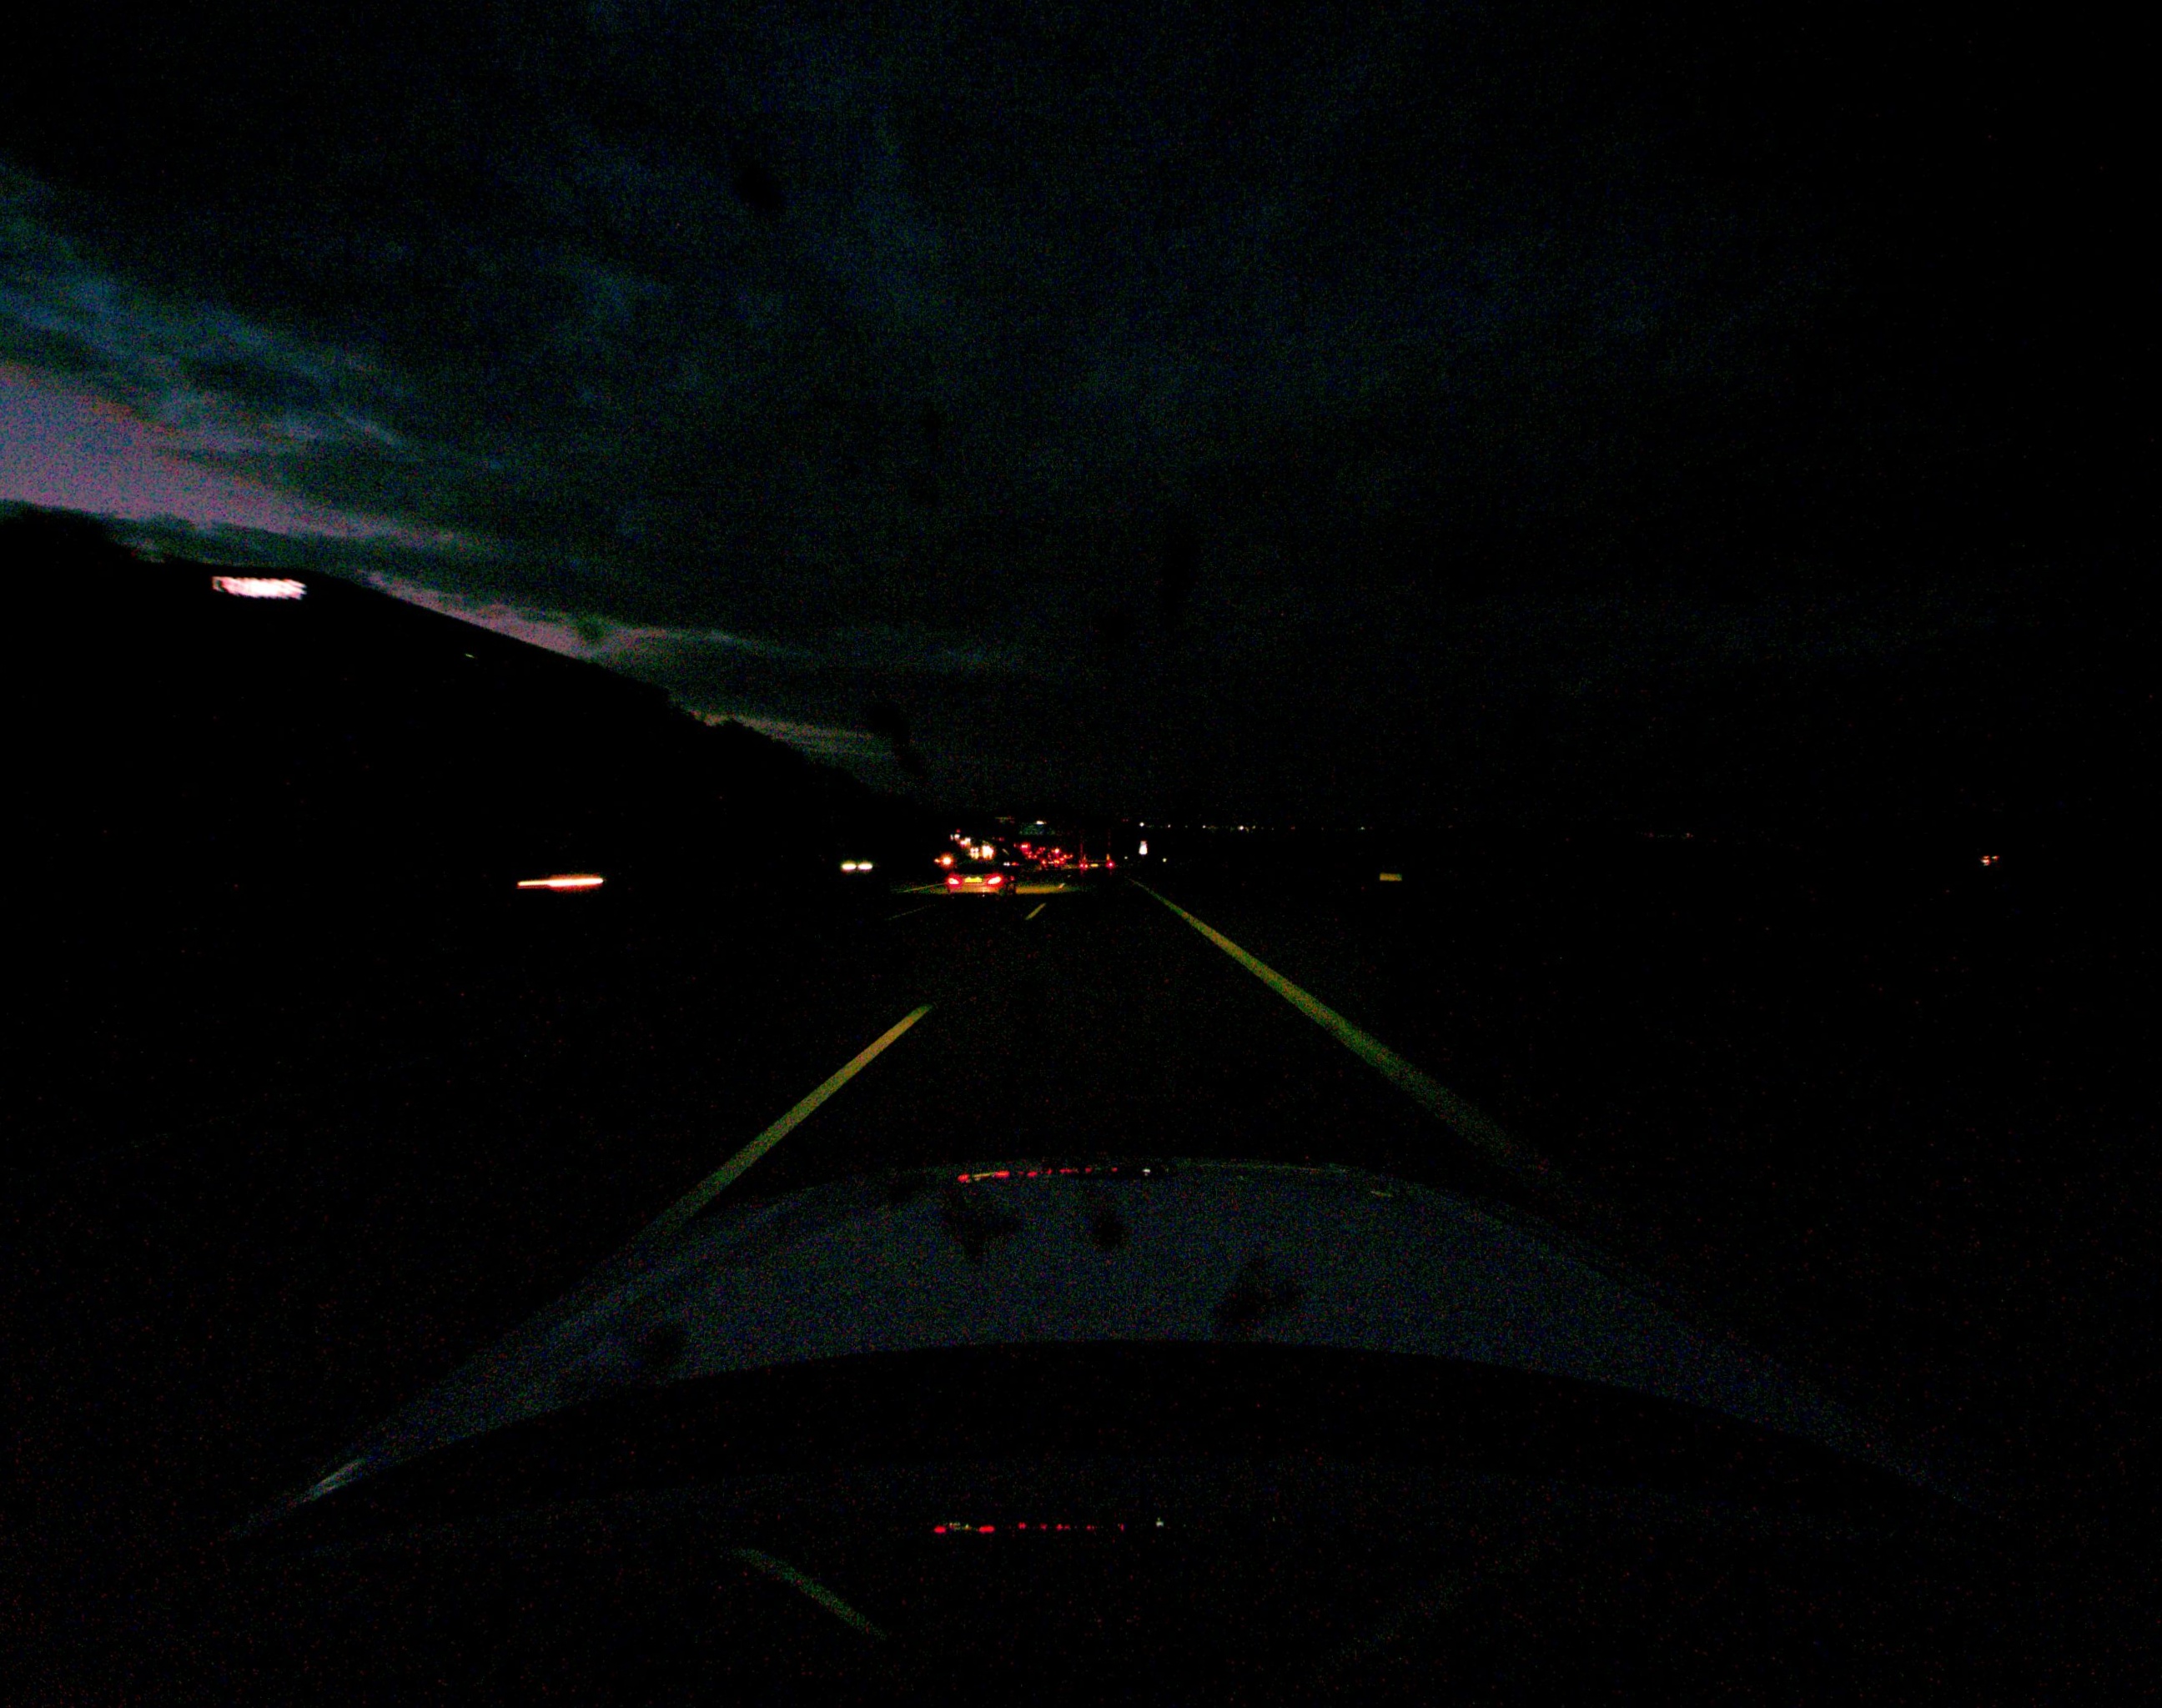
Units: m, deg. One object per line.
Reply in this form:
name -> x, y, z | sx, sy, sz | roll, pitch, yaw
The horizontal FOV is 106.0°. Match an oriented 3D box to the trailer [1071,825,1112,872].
trailer -> 1.043, -0.376, 78.753 | 3.538, 4.116, 15.064 | 0, -1, 1

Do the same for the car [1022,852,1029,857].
car -> -16.182, 0.168, 237.819 | 1.991, 1.468, 3.992 | 0, 0, -6

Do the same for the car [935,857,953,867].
car -> -20.423, 1.234, 121.442 | 1.987, 1.505, 4.506 | 0, 0, 0

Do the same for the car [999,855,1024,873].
car -> -6.127, 0.894, 72.679 | 1.755, 1.575, 4.577 | 0, 0, 1

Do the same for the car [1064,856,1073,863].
car -> -2.670, 1.142, 175.969 | 1.988, 1.534, 3.997 | 0, 0, -2

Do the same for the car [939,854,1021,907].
car -> -3.269, 0.820, 27.329 | 1.898, 1.614, 4.808 | 0, 0, 3

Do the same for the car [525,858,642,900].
car -> -18.582, 0.892, 30.657 | 1.986, 1.453, 3.836 | 0, 0, 1

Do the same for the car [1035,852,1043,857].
car -> -12.788, 0.075, 248.591 | 1.992, 1.622, 3.989 | 0, 0, -8

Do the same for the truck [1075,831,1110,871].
truck -> 1.247, -0.287, 86.179 | 3.538, 4.091, 6.152 | 0, -1, 1

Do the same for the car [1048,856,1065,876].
car -> -2.993, 1.493, 100.093 | 1.988, 2.380, 3.998 | 0, 0, -1

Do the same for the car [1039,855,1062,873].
car -> -2.961, 0.975, 80.068 | 2.058, 1.686, 4.576 | 0, 0, 0

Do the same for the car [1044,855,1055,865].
car -> -6.331, 1.131, 164.697 | 1.991, 2.014, 3.991 | 0, 0, -6

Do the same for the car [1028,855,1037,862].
car -> -10.969, 1.057, 185.590 | 1.990, 1.622, 3.993 | 0, 0, -5

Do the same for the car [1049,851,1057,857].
car -> -8.459, 0.004, 247.704 | 1.991, 1.978, 3.991 | 0, 0, -6

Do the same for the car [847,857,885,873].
car -> -18.176, 0.939, 68.936 | 1.828, 1.336, 4.910 | 0, 0, 1
